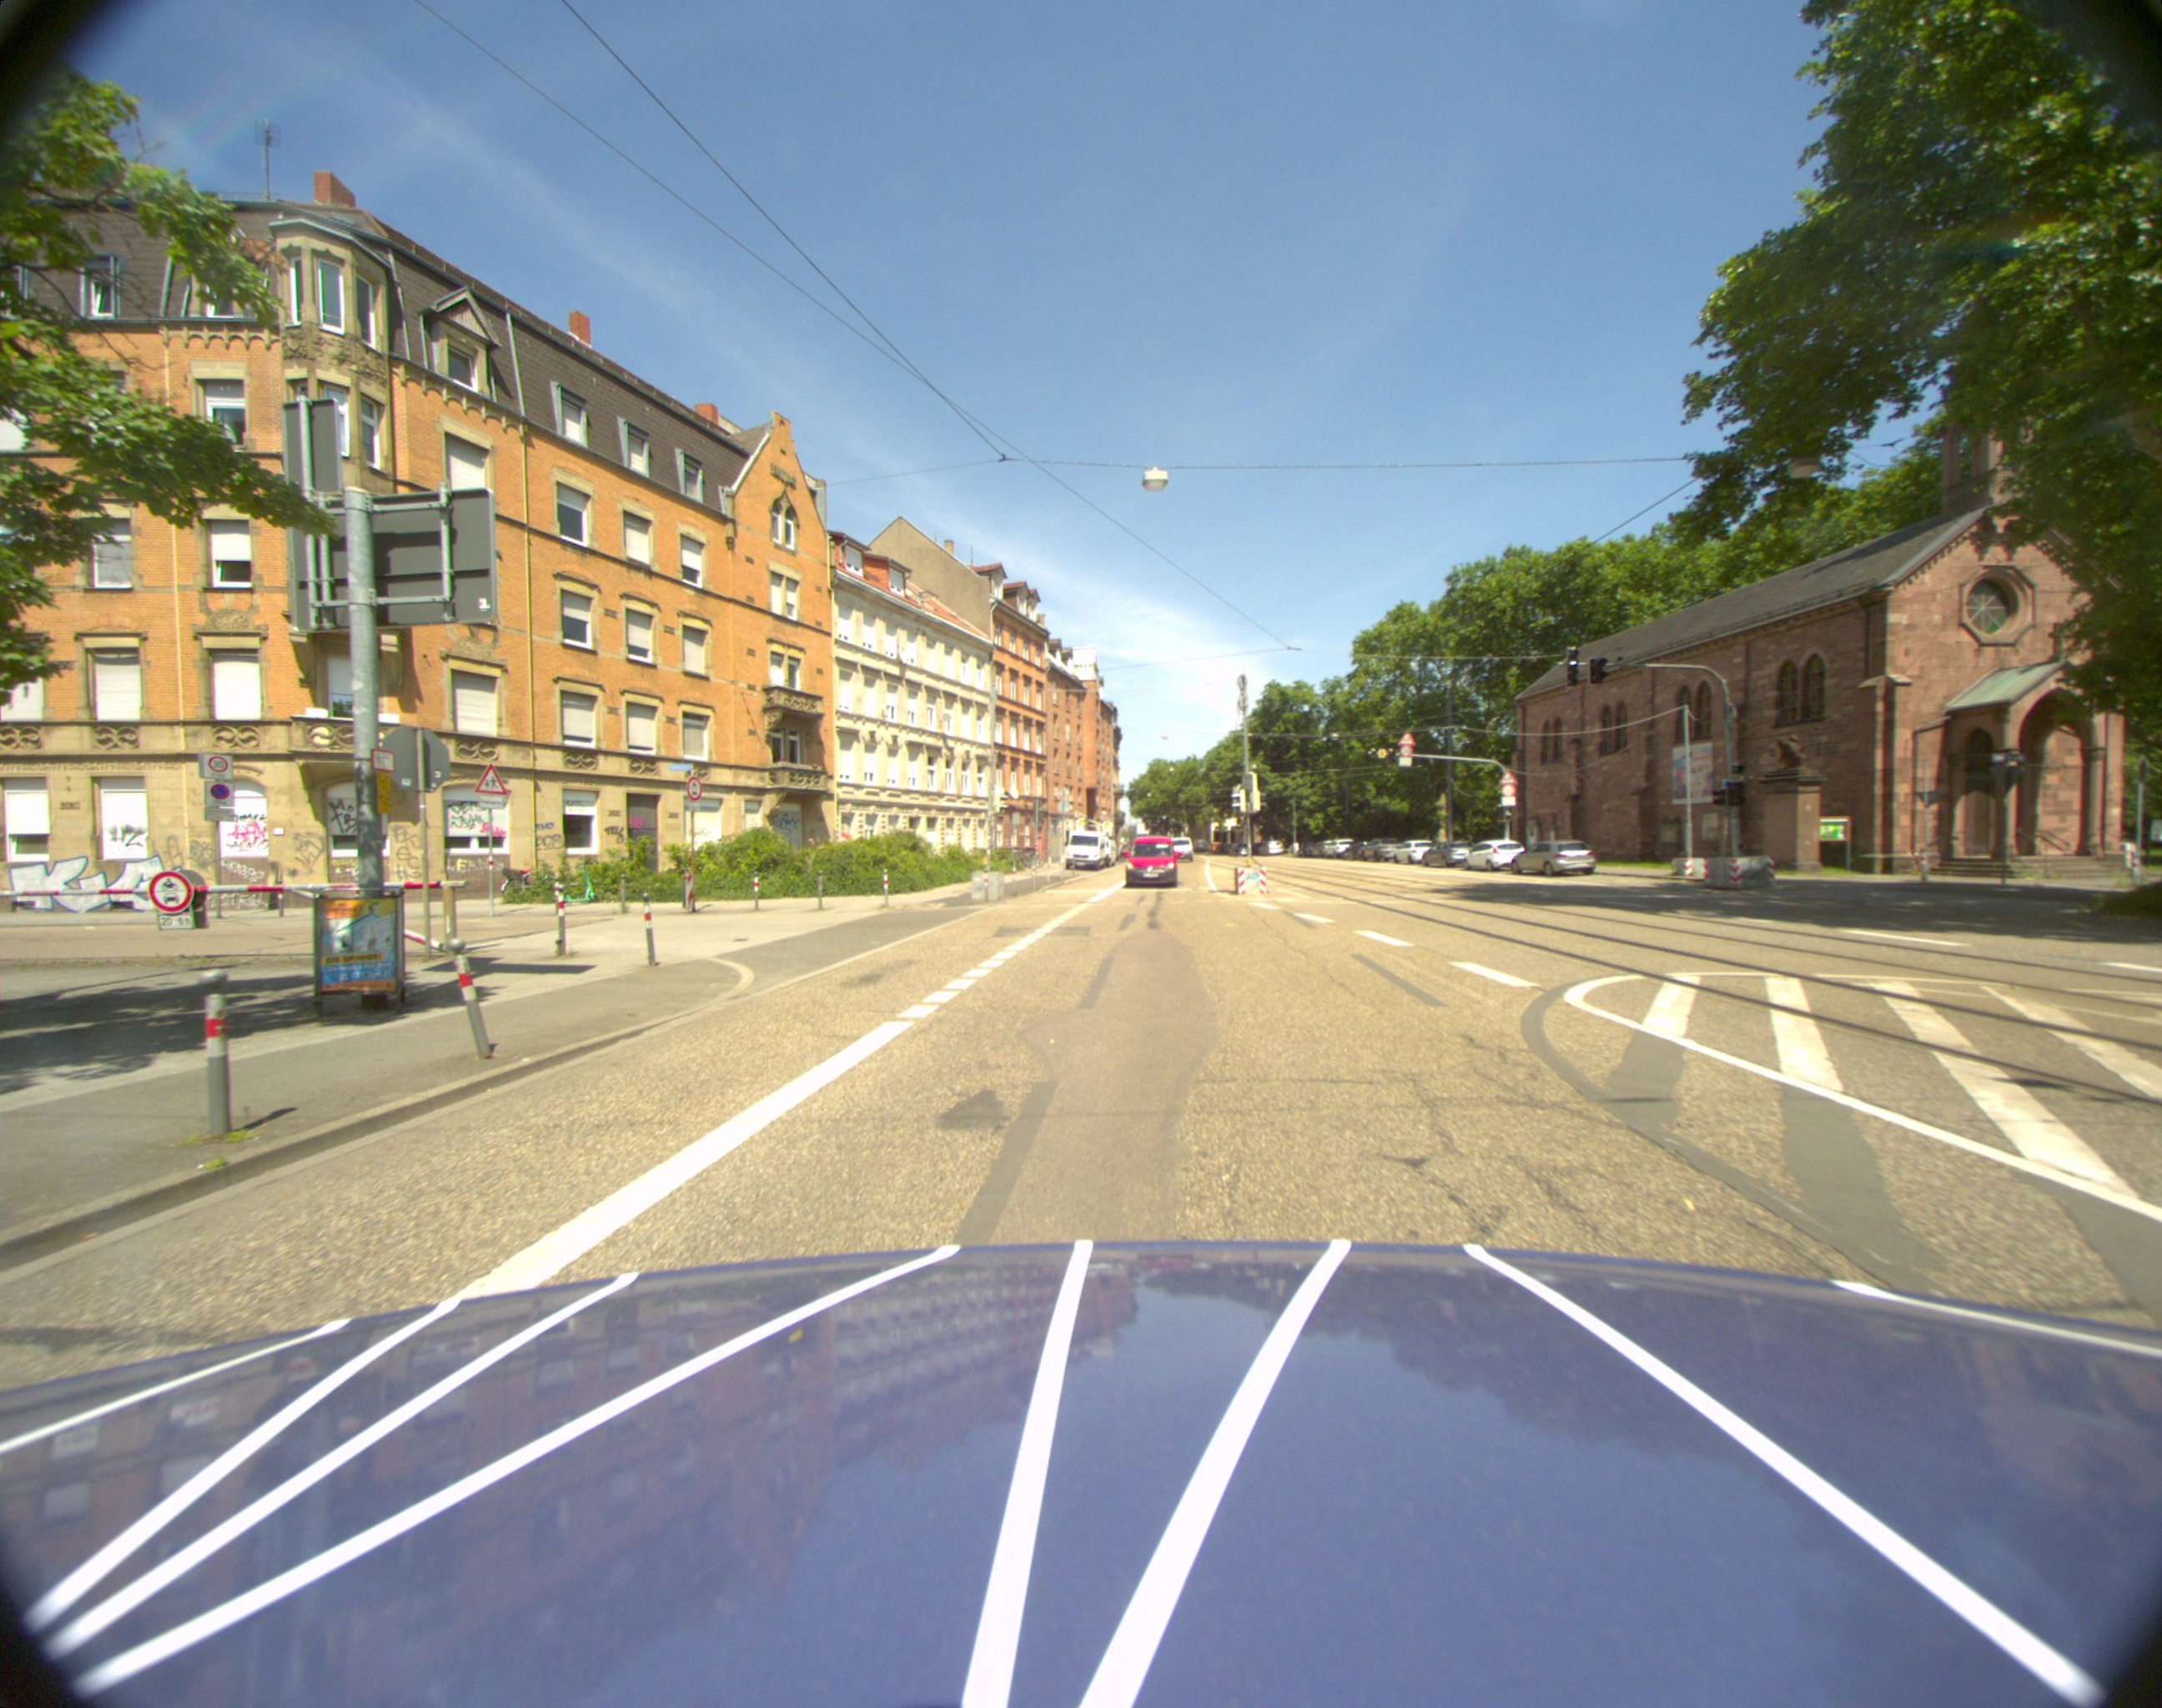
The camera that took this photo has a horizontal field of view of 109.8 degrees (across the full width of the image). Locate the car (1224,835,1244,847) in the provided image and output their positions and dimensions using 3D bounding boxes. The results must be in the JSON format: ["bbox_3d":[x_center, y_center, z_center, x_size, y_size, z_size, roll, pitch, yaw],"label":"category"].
[{"bbox_3d":[20.791,-1.809,103.340,1.746,1.506,3.816,-2,2,-1],"label":"car"}]

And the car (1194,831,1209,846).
[{"bbox_3d":[19.516,-2.513,122.822,1.821,2.284,3.761,-2,2,1],"label":"car"}]

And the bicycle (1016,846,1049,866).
[{"bbox_3d":[-3.025,0.105,47.248,1.918,1.174,0.493,-2,2,8],"label":"bicycle"}]

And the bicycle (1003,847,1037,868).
[{"bbox_3d":[-3.594,0.219,44.810,1.918,1.174,0.493,-2,2,8],"label":"bicycle"}]

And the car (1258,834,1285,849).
[{"bbox_3d":[21.606,-1.414,86.298,1.977,1.554,3.999,-2,2,1],"label":"car"}]

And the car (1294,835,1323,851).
[{"bbox_3d":[22.251,-1.105,74.515,1.747,1.490,4.187,-2,2,2],"label":"car"}]

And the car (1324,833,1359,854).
[{"bbox_3d":[21.642,-0.925,63.267,1.746,1.644,3.905,-2,2,5],"label":"car"}]

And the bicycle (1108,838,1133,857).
[{"bbox_3d":[3.296,-0.580,63.956,1.936,1.498,0.665,-2,2,19],"label":"bicycle"}]

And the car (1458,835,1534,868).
[{"bbox_3d":[20.304,-0.159,37.362,1.662,1.451,4.058,-2,2,4],"label":"car"}]

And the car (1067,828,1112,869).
[{"bbox_3d":[0.593,-0.386,46.414,1.997,2.317,5.409,2,2,9],"label":"car"}]

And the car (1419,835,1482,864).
[{"bbox_3d":[20.516,-0.306,42.403,1.662,1.451,4.058,-2,2,2],"label":"car"}]

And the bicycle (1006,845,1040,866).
[{"bbox_3d":[-3.501,0.099,46.084,1.918,1.174,0.493,-2,2,8],"label":"bicycle"}]

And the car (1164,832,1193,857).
[{"bbox_3d":[7.898,-0.808,61.721,2.164,1.927,4.855,-2,2,7],"label":"car"}]

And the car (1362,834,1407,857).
[{"bbox_3d":[21.069,-0.618,52.914,1.747,1.515,3.753,-2,2,2],"label":"car"}]

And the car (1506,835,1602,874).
[{"bbox_3d":[20.051,-0.028,32.410,1.662,1.451,4.221,-2,2,4],"label":"car"}]

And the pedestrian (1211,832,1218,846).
[{"bbox_3d":[19.759,-2.179,112.290,0.952,2.002,0.760,-2,2,6],"label":"pedestrian"}]

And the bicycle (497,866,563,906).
[{"bbox_3d":[-15.466,0.876,21.365,0.490,0.987,1.489,-2,2,13],"label":"bicycle"}]

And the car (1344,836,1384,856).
[{"bbox_3d":[21.620,-0.640,58.180,1.671,1.368,3.999,-2,2,2],"label":"car"}]

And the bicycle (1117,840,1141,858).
[{"bbox_3d":[4.238,-0.435,66.840,1.936,1.498,0.665,-2,2,19],"label":"bicycle"}]

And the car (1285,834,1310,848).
[{"bbox_3d":[22.715,-1.340,79.924,1.649,1.372,3.765,-2,2,2],"label":"car"}]

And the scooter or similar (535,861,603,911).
[{"bbox_3d":[-13.333,0.809,19.834,0.490,1.198,1.489,-2,2,13],"label":"scooter or similar"}]

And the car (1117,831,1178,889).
[{"bbox_3d":[2.486,0.128,27.306,1.858,1.824,5.167,-2,2,8],"label":"car"}]

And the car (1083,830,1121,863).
[{"bbox_3d":[1.514,-0.572,53.303,1.997,2.124,5.274,2,2,8],"label":"car"}]

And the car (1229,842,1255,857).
[{"bbox_3d":[16.920,-0.532,79.998,1.750,1.387,4.346,-2,2,1],"label":"car"}]

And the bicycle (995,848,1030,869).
[{"bbox_3d":[-3.959,0.256,43.821,1.918,1.174,0.493,-2,2,8],"label":"bicycle"}]

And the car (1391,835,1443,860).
[{"bbox_3d":[21.045,-0.446,47.760,1.747,1.451,3.753,-2,2,2],"label":"car"}]

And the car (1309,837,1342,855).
[{"bbox_3d":[21.942,-0.770,68.443,1.747,1.490,4.187,-2,2,2],"label":"car"}]
